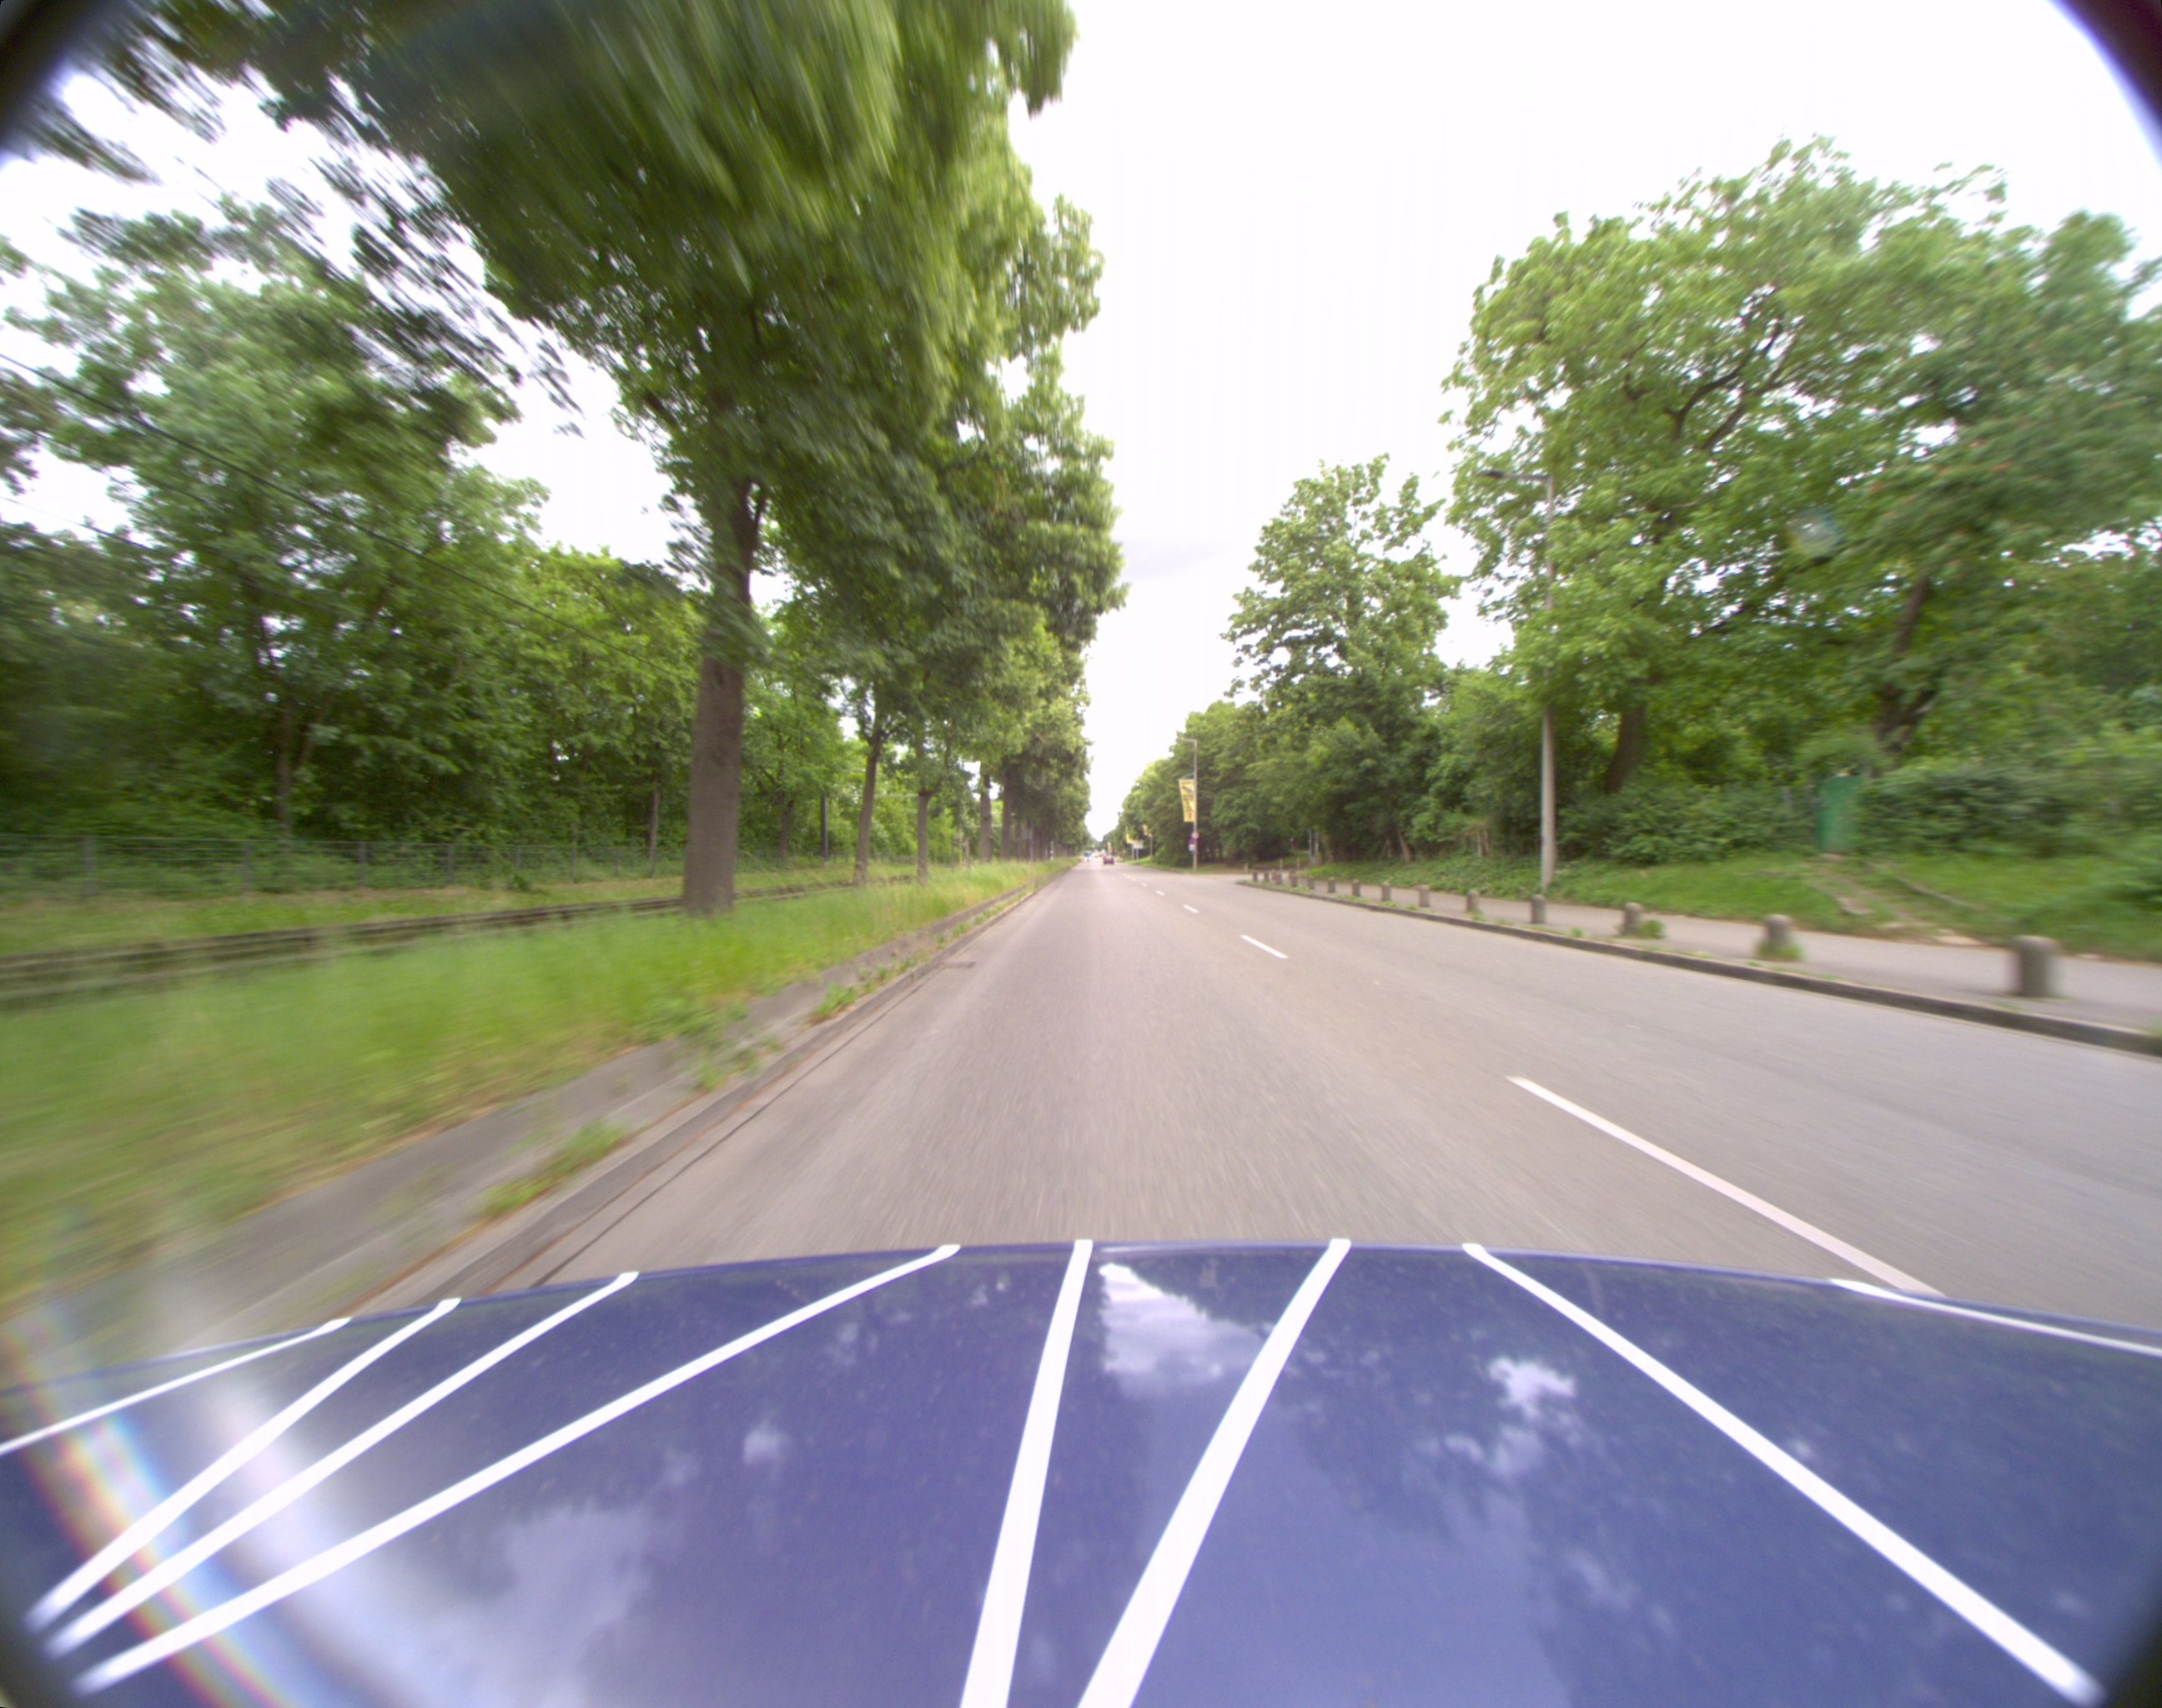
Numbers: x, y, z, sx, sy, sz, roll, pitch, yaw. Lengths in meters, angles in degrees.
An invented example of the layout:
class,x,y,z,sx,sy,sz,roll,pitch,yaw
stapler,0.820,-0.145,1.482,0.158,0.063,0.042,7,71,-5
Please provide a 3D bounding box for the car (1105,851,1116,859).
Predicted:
class,x,y,z,sx,sy,sz,roll,pitch,yaw
car,5.077,0.202,130.400,1.721,1.420,4.196,1,0,0
